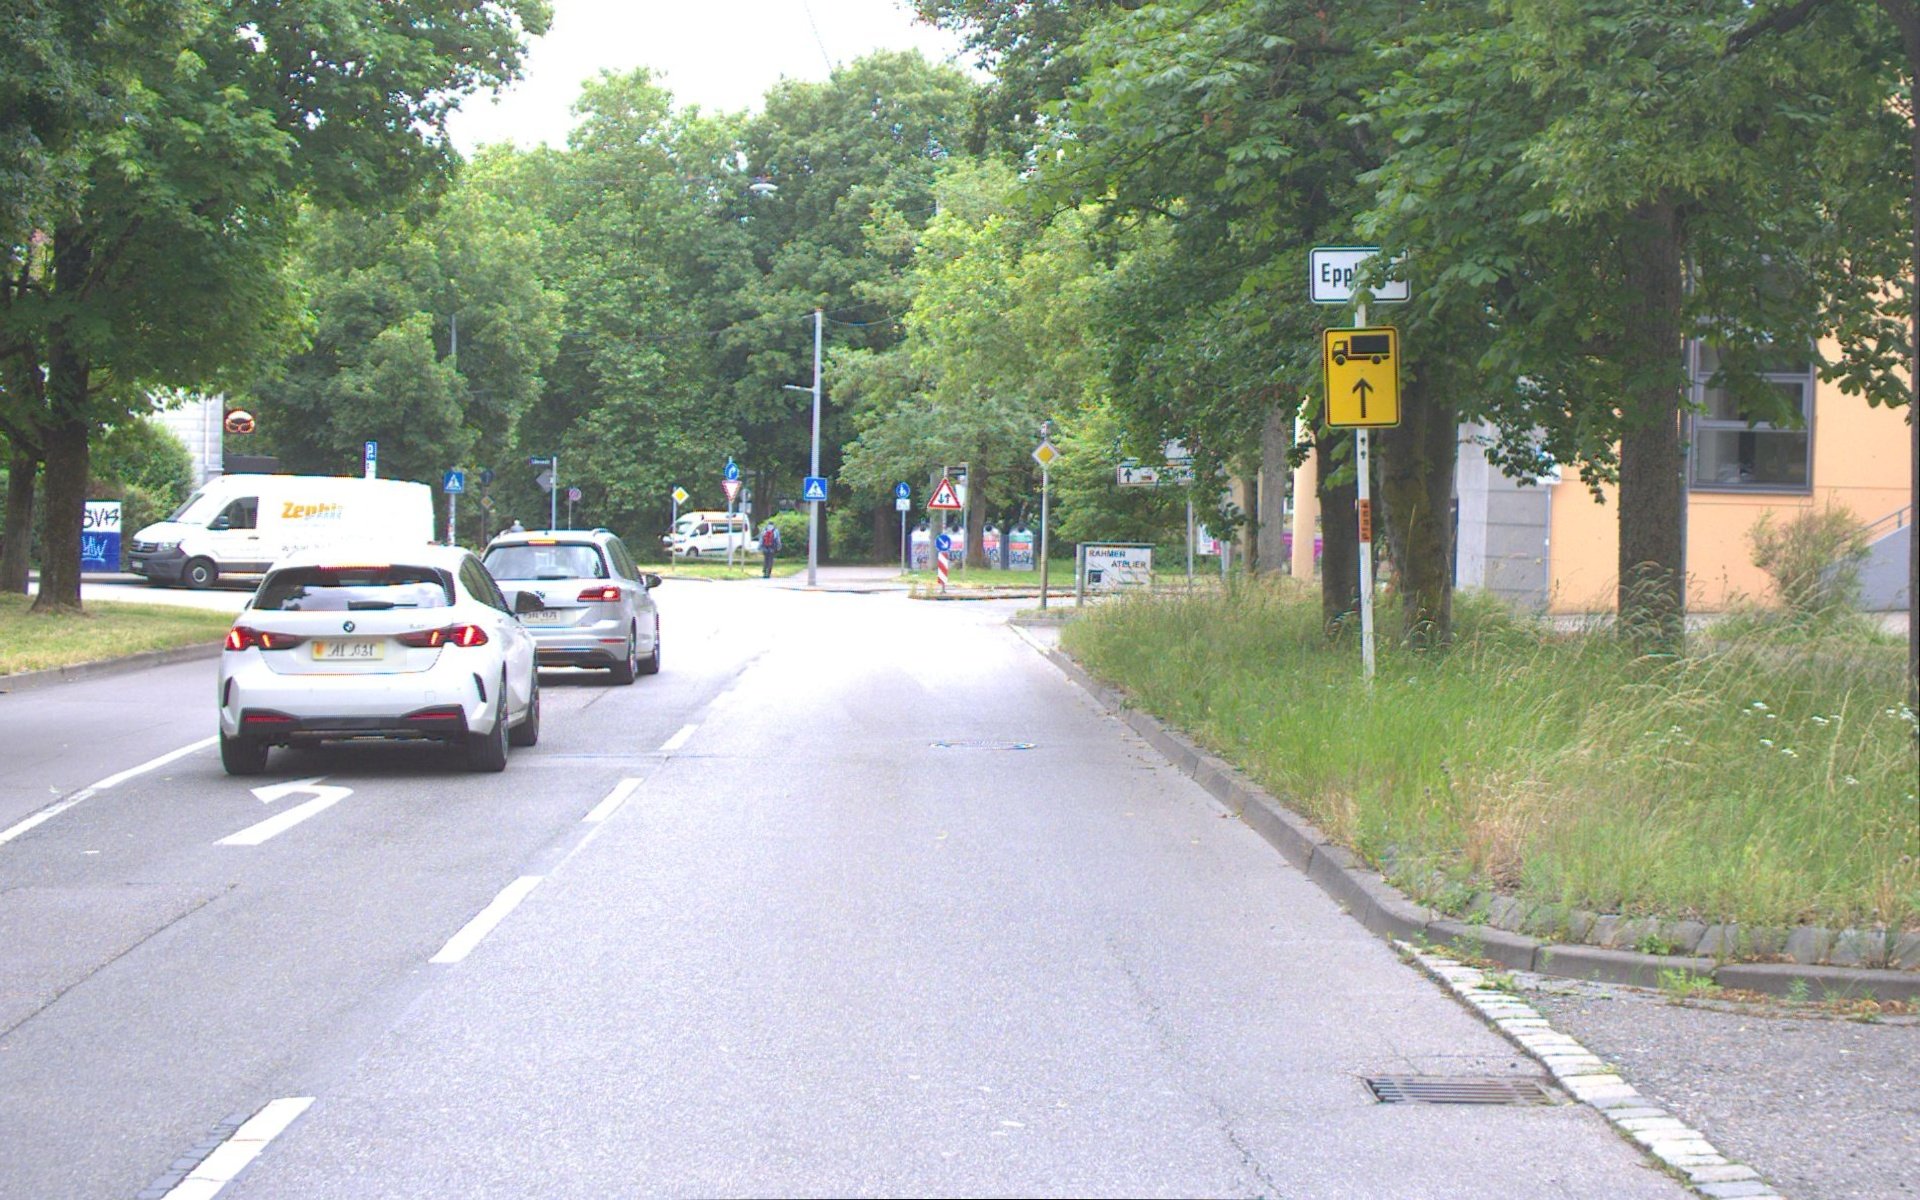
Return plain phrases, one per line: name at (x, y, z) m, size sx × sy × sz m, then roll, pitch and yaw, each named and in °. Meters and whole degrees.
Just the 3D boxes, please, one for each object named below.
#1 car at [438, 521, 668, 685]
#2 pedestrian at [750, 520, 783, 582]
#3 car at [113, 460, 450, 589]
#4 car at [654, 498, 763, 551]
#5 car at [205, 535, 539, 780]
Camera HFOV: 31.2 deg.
car at (-4.200, -0.013, 36.030) m, size 1.923 × 1.568 × 4.000 m, roll 1°, pitch 1°, yaw 0°
pedestrian at (-6.103, -1.559, 108.425) m, size 0.923 × 1.865 × 1.019 m, roll -2°, pitch 4°, yaw -5°
car at (-14.843, -1.626, 75.517) m, size 6.959 × 2.513 × 2.084 m, roll 1°, pitch 3°, yaw -38°
car at (-12.211, -3.653, 167.247) m, size 2.135 × 2.289 × 5.373 m, roll 5°, pitch 2°, yaw 38°
car at (-3.885, 0.319, 23.332) m, size 1.795 × 1.512 × 4.208 m, roll 0°, pitch 1°, yaw -4°
